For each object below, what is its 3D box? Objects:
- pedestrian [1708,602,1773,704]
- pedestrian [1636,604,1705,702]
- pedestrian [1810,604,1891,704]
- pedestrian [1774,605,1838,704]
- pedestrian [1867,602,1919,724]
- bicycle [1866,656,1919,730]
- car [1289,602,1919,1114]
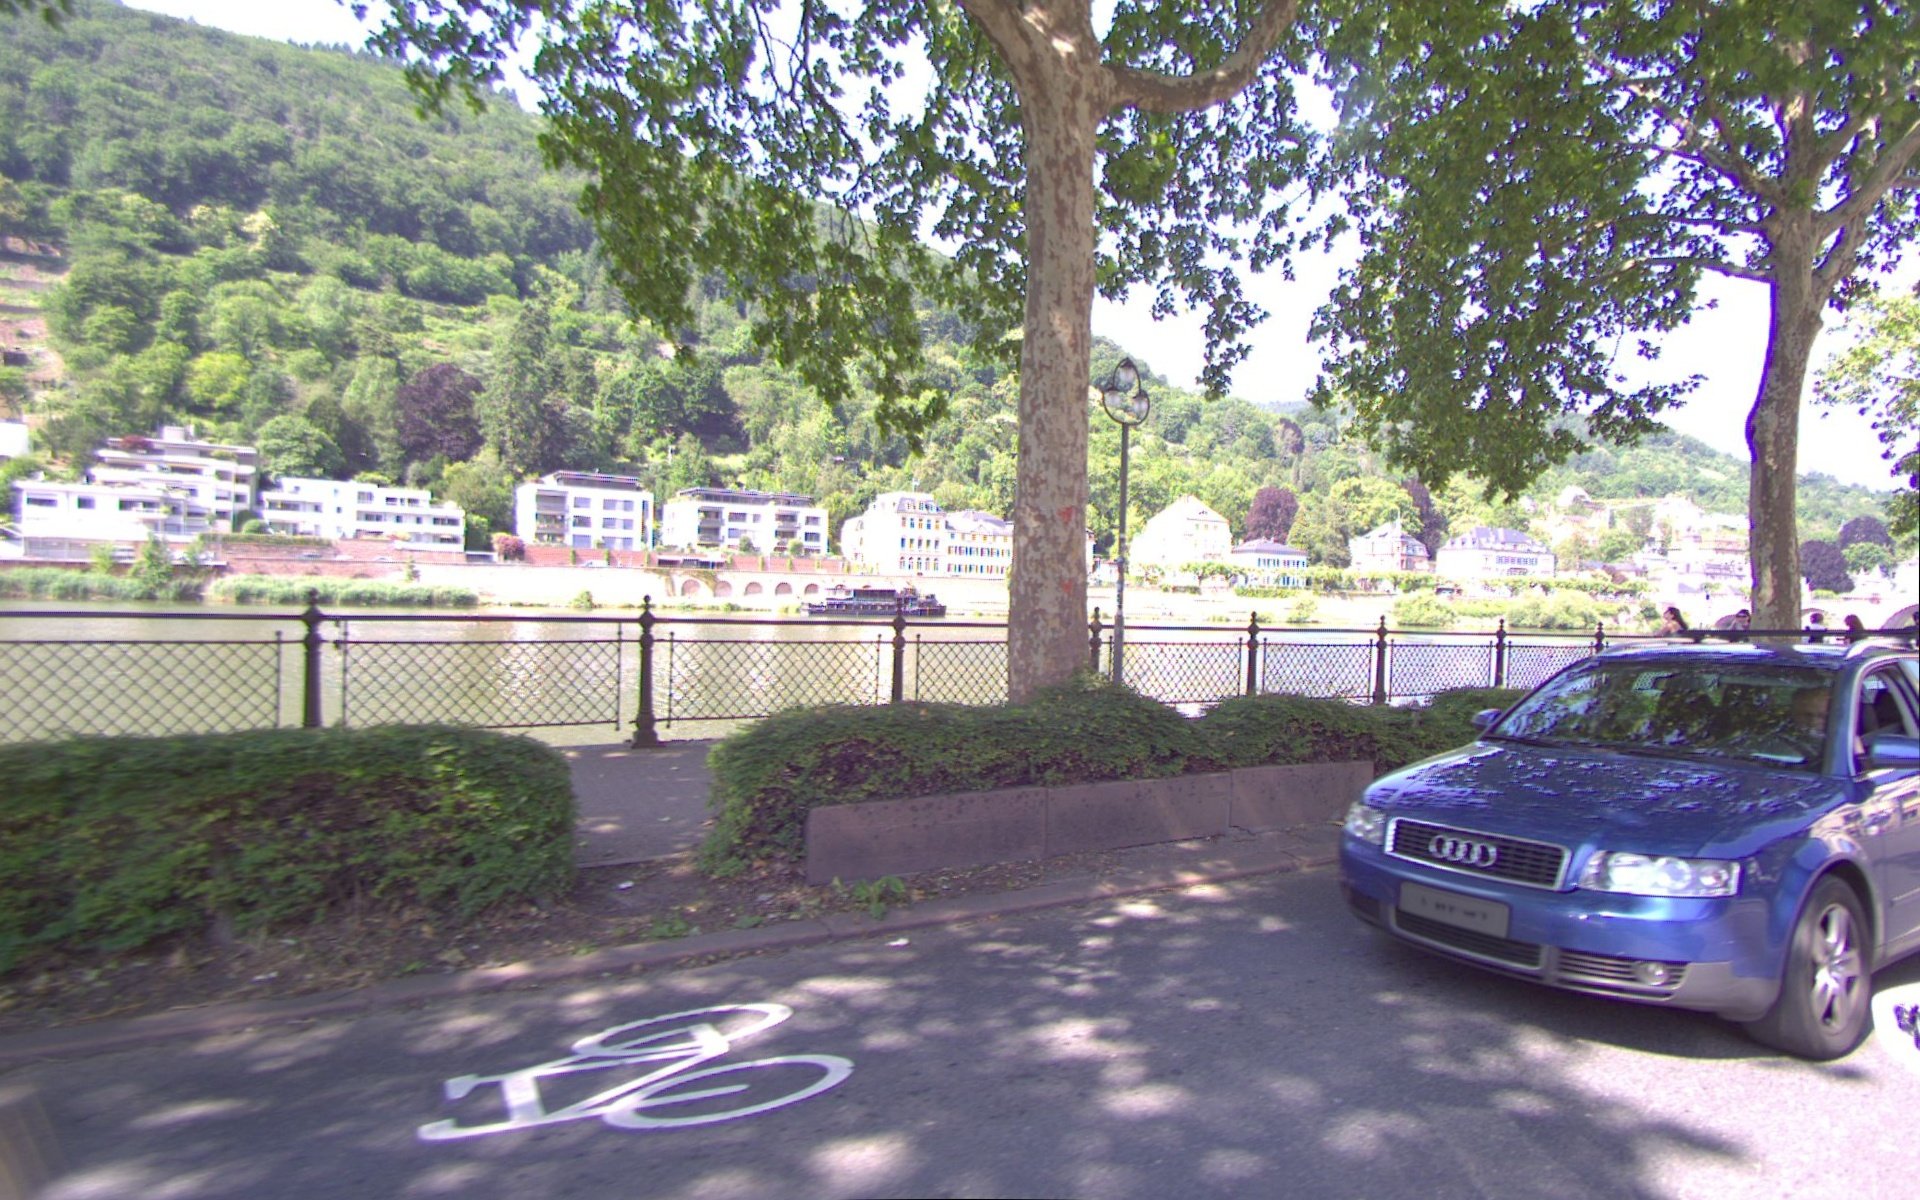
[{"bbox_3d":[13.752,0.926,17.707,0.688,1.723,0.616,2,2,-30],"label":"pedestrian"},{"bbox_3d":[12.359,0.911,17.476,0.900,1.630,0.546,2,3,-30],"label":"pedestrian"},{"bbox_3d":[16.068,0.960,18.130,0.773,1.736,0.831,2,1,-30],"label":"pedestrian"},{"bbox_3d":[15.344,0.973,18.221,0.784,1.736,0.649,1,0,-30],"label":"pedestrian"},{"bbox_3d":[14.581,0.938,15.221,0.753,1.796,1.025,2,1,11],"label":"pedestrian"},{"bbox_3d":[14.402,1.433,14.747,0.727,0.938,1.830,3,5,11],"label":"bicycle"},{"bbox_3d":[3.786,0.871,4.841,4.351,1.538,1.694,2,-3,-29],"label":"car"}]
